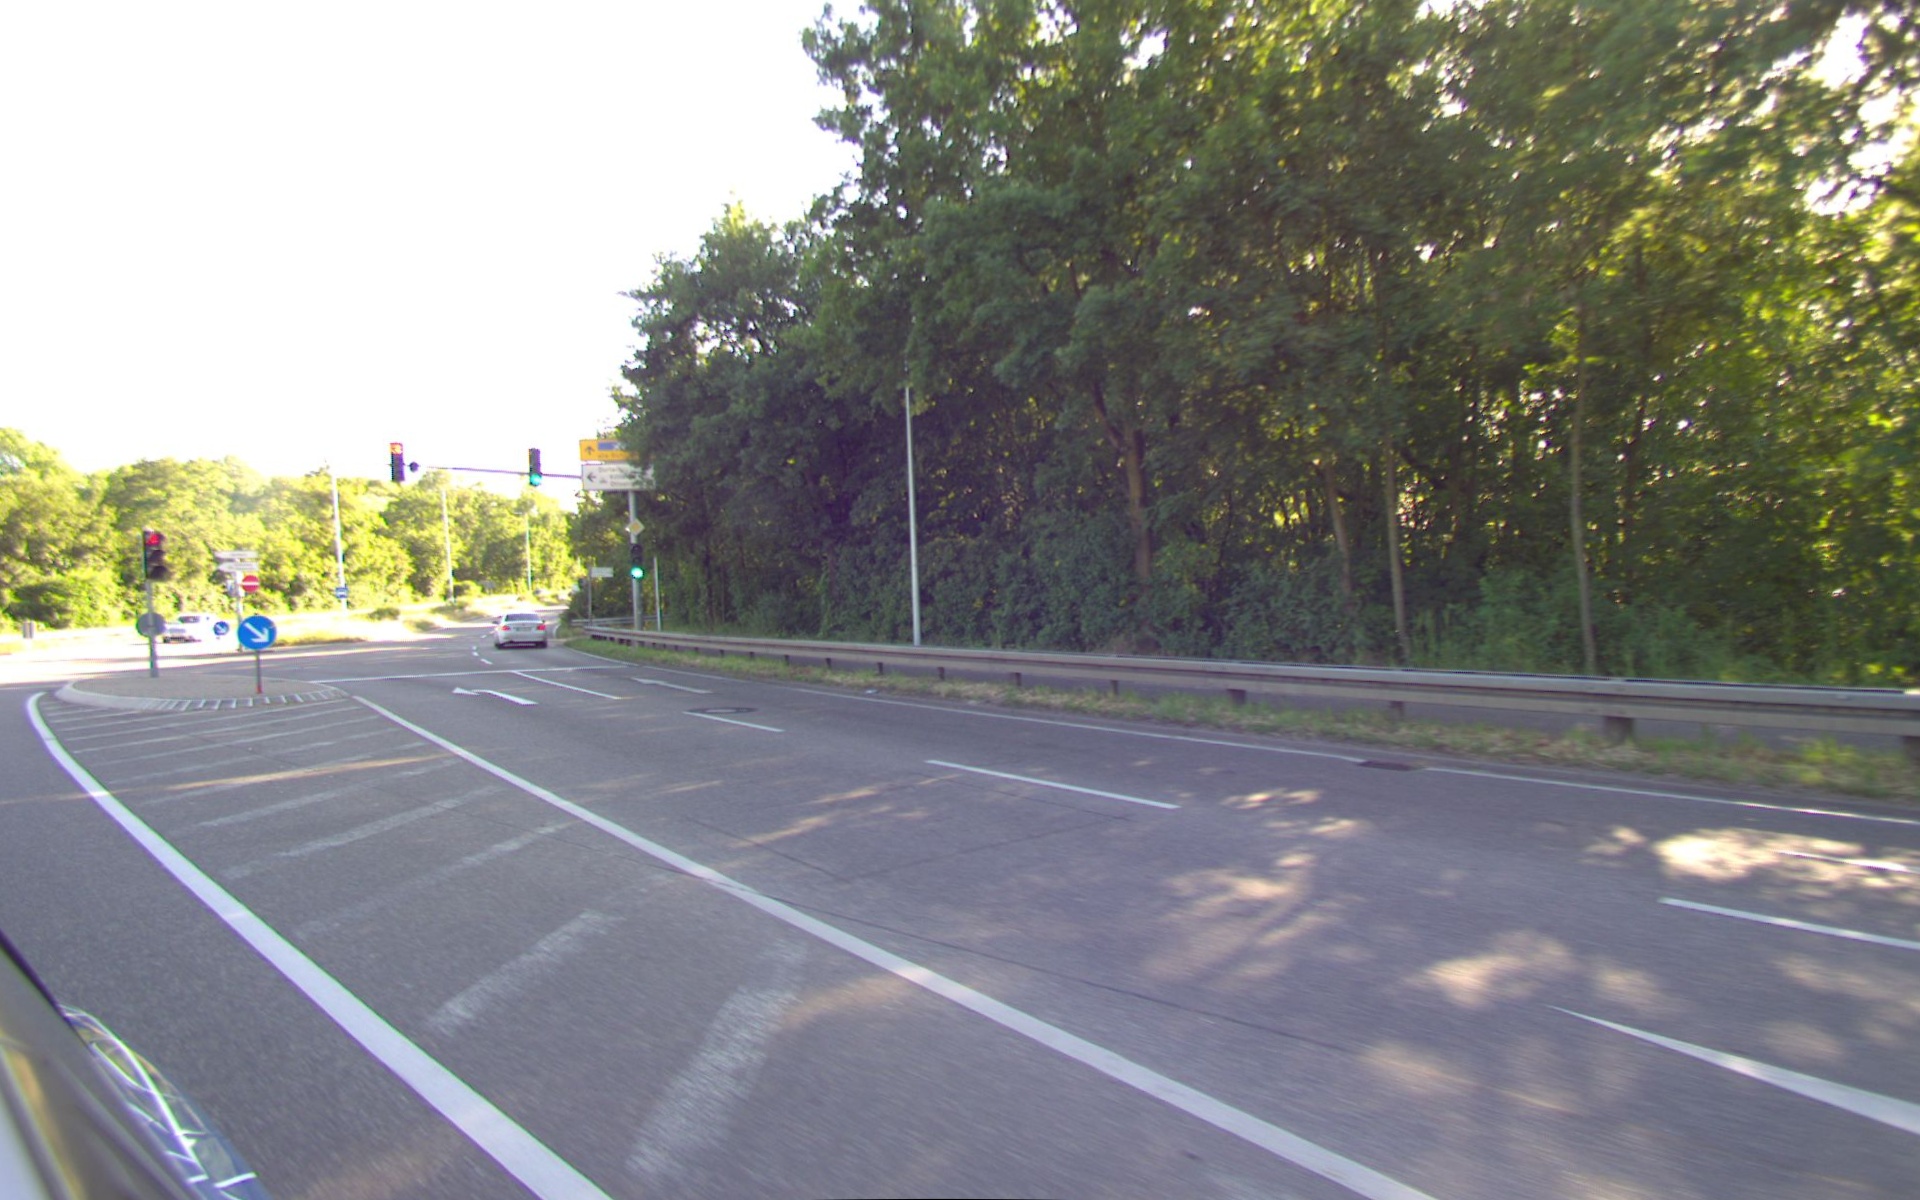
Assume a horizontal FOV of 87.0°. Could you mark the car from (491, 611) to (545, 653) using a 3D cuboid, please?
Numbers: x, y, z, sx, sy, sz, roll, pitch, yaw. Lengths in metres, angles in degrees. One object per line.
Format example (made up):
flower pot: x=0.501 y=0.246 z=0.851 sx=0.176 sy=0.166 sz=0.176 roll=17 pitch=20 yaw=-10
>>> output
car: x=-17.759 y=1.230 z=40.636 sx=1.821 sy=1.499 sz=4.644 roll=-2 pitch=0 yaw=-24

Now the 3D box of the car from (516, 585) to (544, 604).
car: x=-46.392 y=-0.594 z=109.253 sx=1.967 sy=2.029 sz=4.010 roll=-2 pitch=0 yaw=-12

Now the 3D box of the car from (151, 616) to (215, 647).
car: x=-40.244 y=1.580 z=52.502 sx=1.735 sy=1.447 sz=4.344 roll=-2 pitch=0 yaw=-26

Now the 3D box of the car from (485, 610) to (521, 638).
car: x=-24.815 y=1.275 z=54.902 sx=1.676 sy=1.400 sz=4.542 roll=0 pitch=-1 yaw=-26

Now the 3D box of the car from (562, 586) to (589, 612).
car: x=-39.257 y=-0.101 z=103.337 sx=2.231 sy=2.572 sz=6.419 roll=0 pitch=0 yaw=-24
